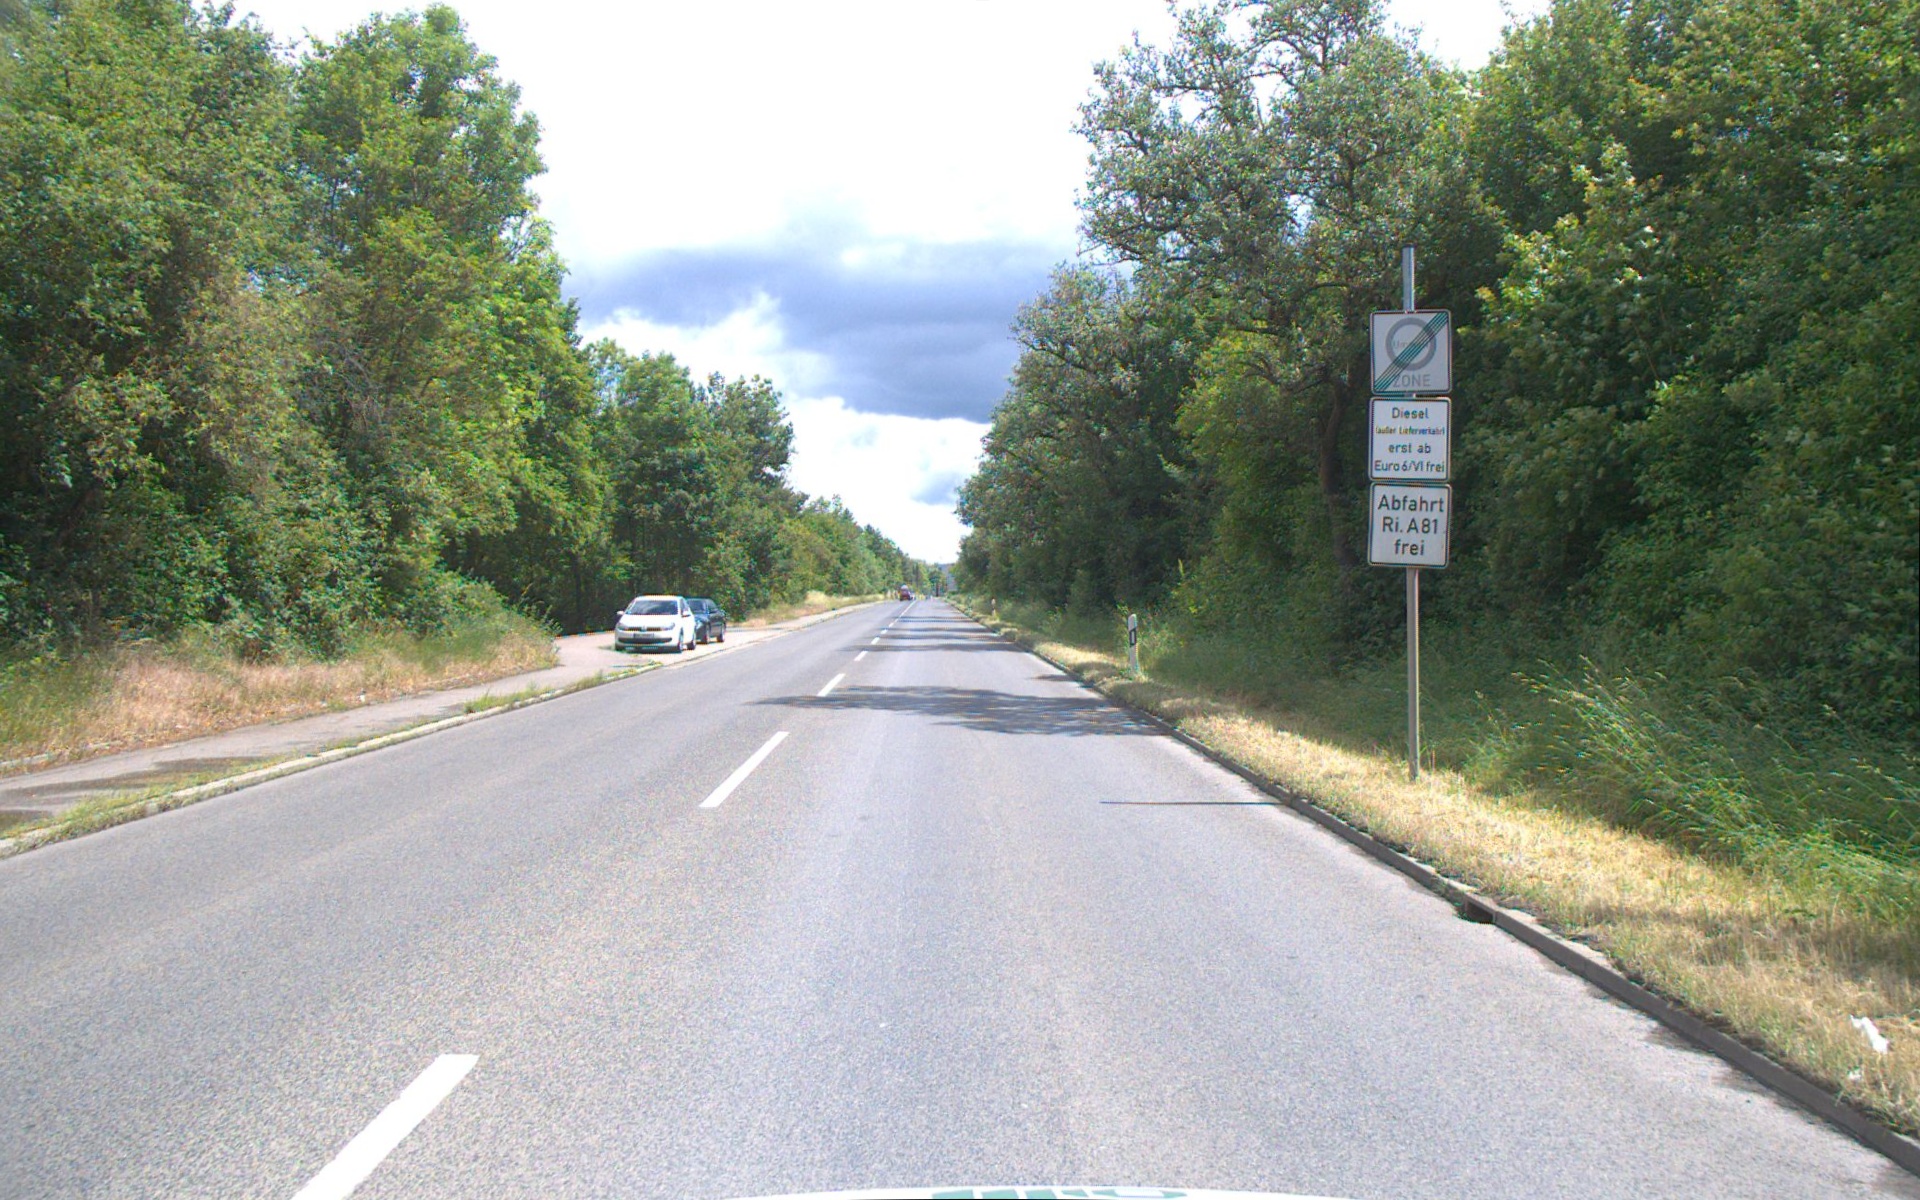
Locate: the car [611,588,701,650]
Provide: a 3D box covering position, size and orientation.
[{"bbox_3d":[-8.171,0.521,44.730,1.762,1.570,3.953,-1,-1,-1],"label":"car"}]

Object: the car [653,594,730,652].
[{"bbox_3d":[-8.429,0.686,52.230,1.761,1.653,3.955,-1,1,0],"label":"car"}]
